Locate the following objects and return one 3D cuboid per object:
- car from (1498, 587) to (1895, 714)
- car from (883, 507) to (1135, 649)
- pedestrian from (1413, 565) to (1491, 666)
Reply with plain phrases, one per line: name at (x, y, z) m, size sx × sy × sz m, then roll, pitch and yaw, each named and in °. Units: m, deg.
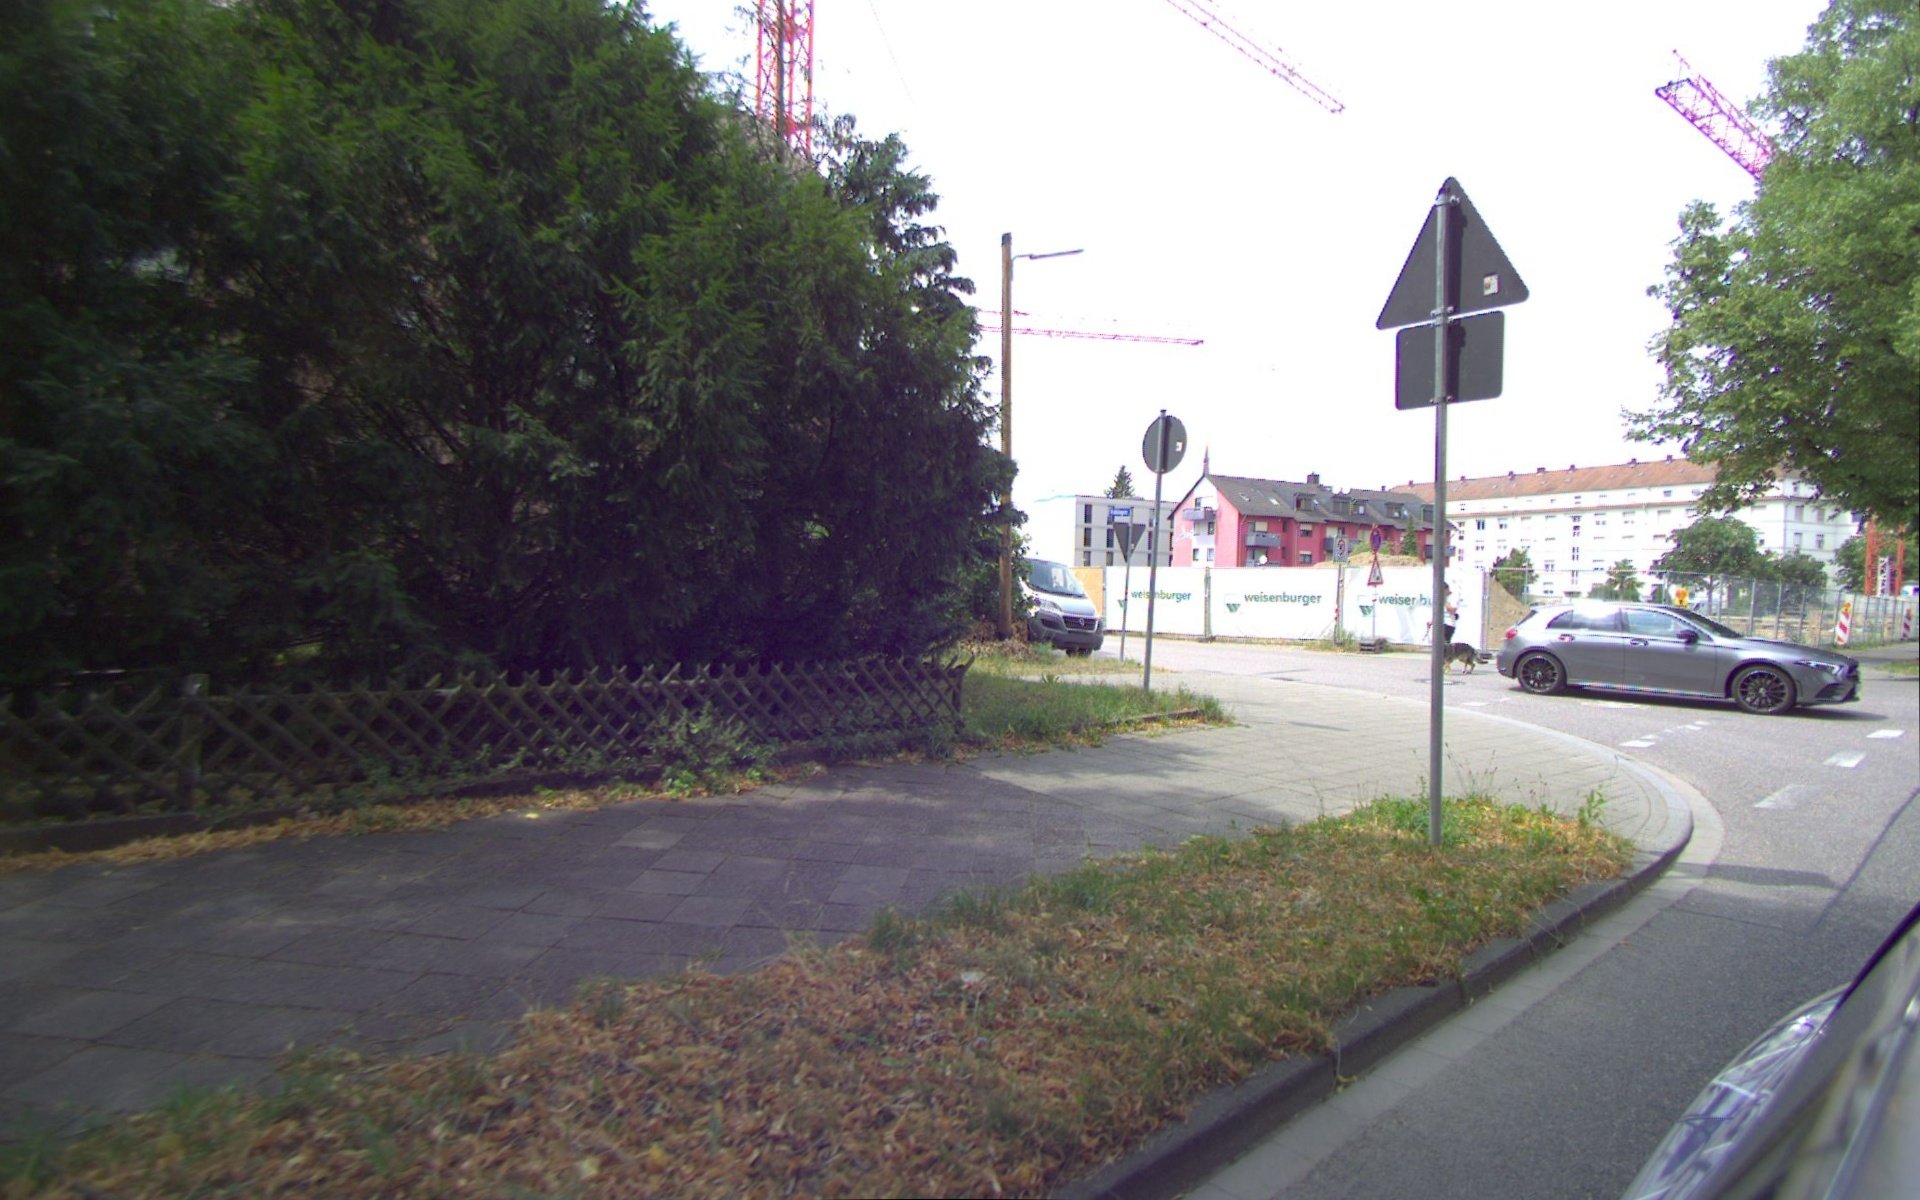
car at (10.633, 0.608, 14.878) m, size 1.976 × 1.460 × 4.380 m, roll 0°, pitch 2°, yaw -41°
car at (0.891, -0.503, 21.983) m, size 2.293 × 2.665 × 5.486 m, roll 3°, pitch 1°, yaw -39°
pedestrian at (9.326, 0.276, 19.216) m, size 0.870 × 1.836 × 0.887 m, roll 2°, pitch 3°, yaw -23°
